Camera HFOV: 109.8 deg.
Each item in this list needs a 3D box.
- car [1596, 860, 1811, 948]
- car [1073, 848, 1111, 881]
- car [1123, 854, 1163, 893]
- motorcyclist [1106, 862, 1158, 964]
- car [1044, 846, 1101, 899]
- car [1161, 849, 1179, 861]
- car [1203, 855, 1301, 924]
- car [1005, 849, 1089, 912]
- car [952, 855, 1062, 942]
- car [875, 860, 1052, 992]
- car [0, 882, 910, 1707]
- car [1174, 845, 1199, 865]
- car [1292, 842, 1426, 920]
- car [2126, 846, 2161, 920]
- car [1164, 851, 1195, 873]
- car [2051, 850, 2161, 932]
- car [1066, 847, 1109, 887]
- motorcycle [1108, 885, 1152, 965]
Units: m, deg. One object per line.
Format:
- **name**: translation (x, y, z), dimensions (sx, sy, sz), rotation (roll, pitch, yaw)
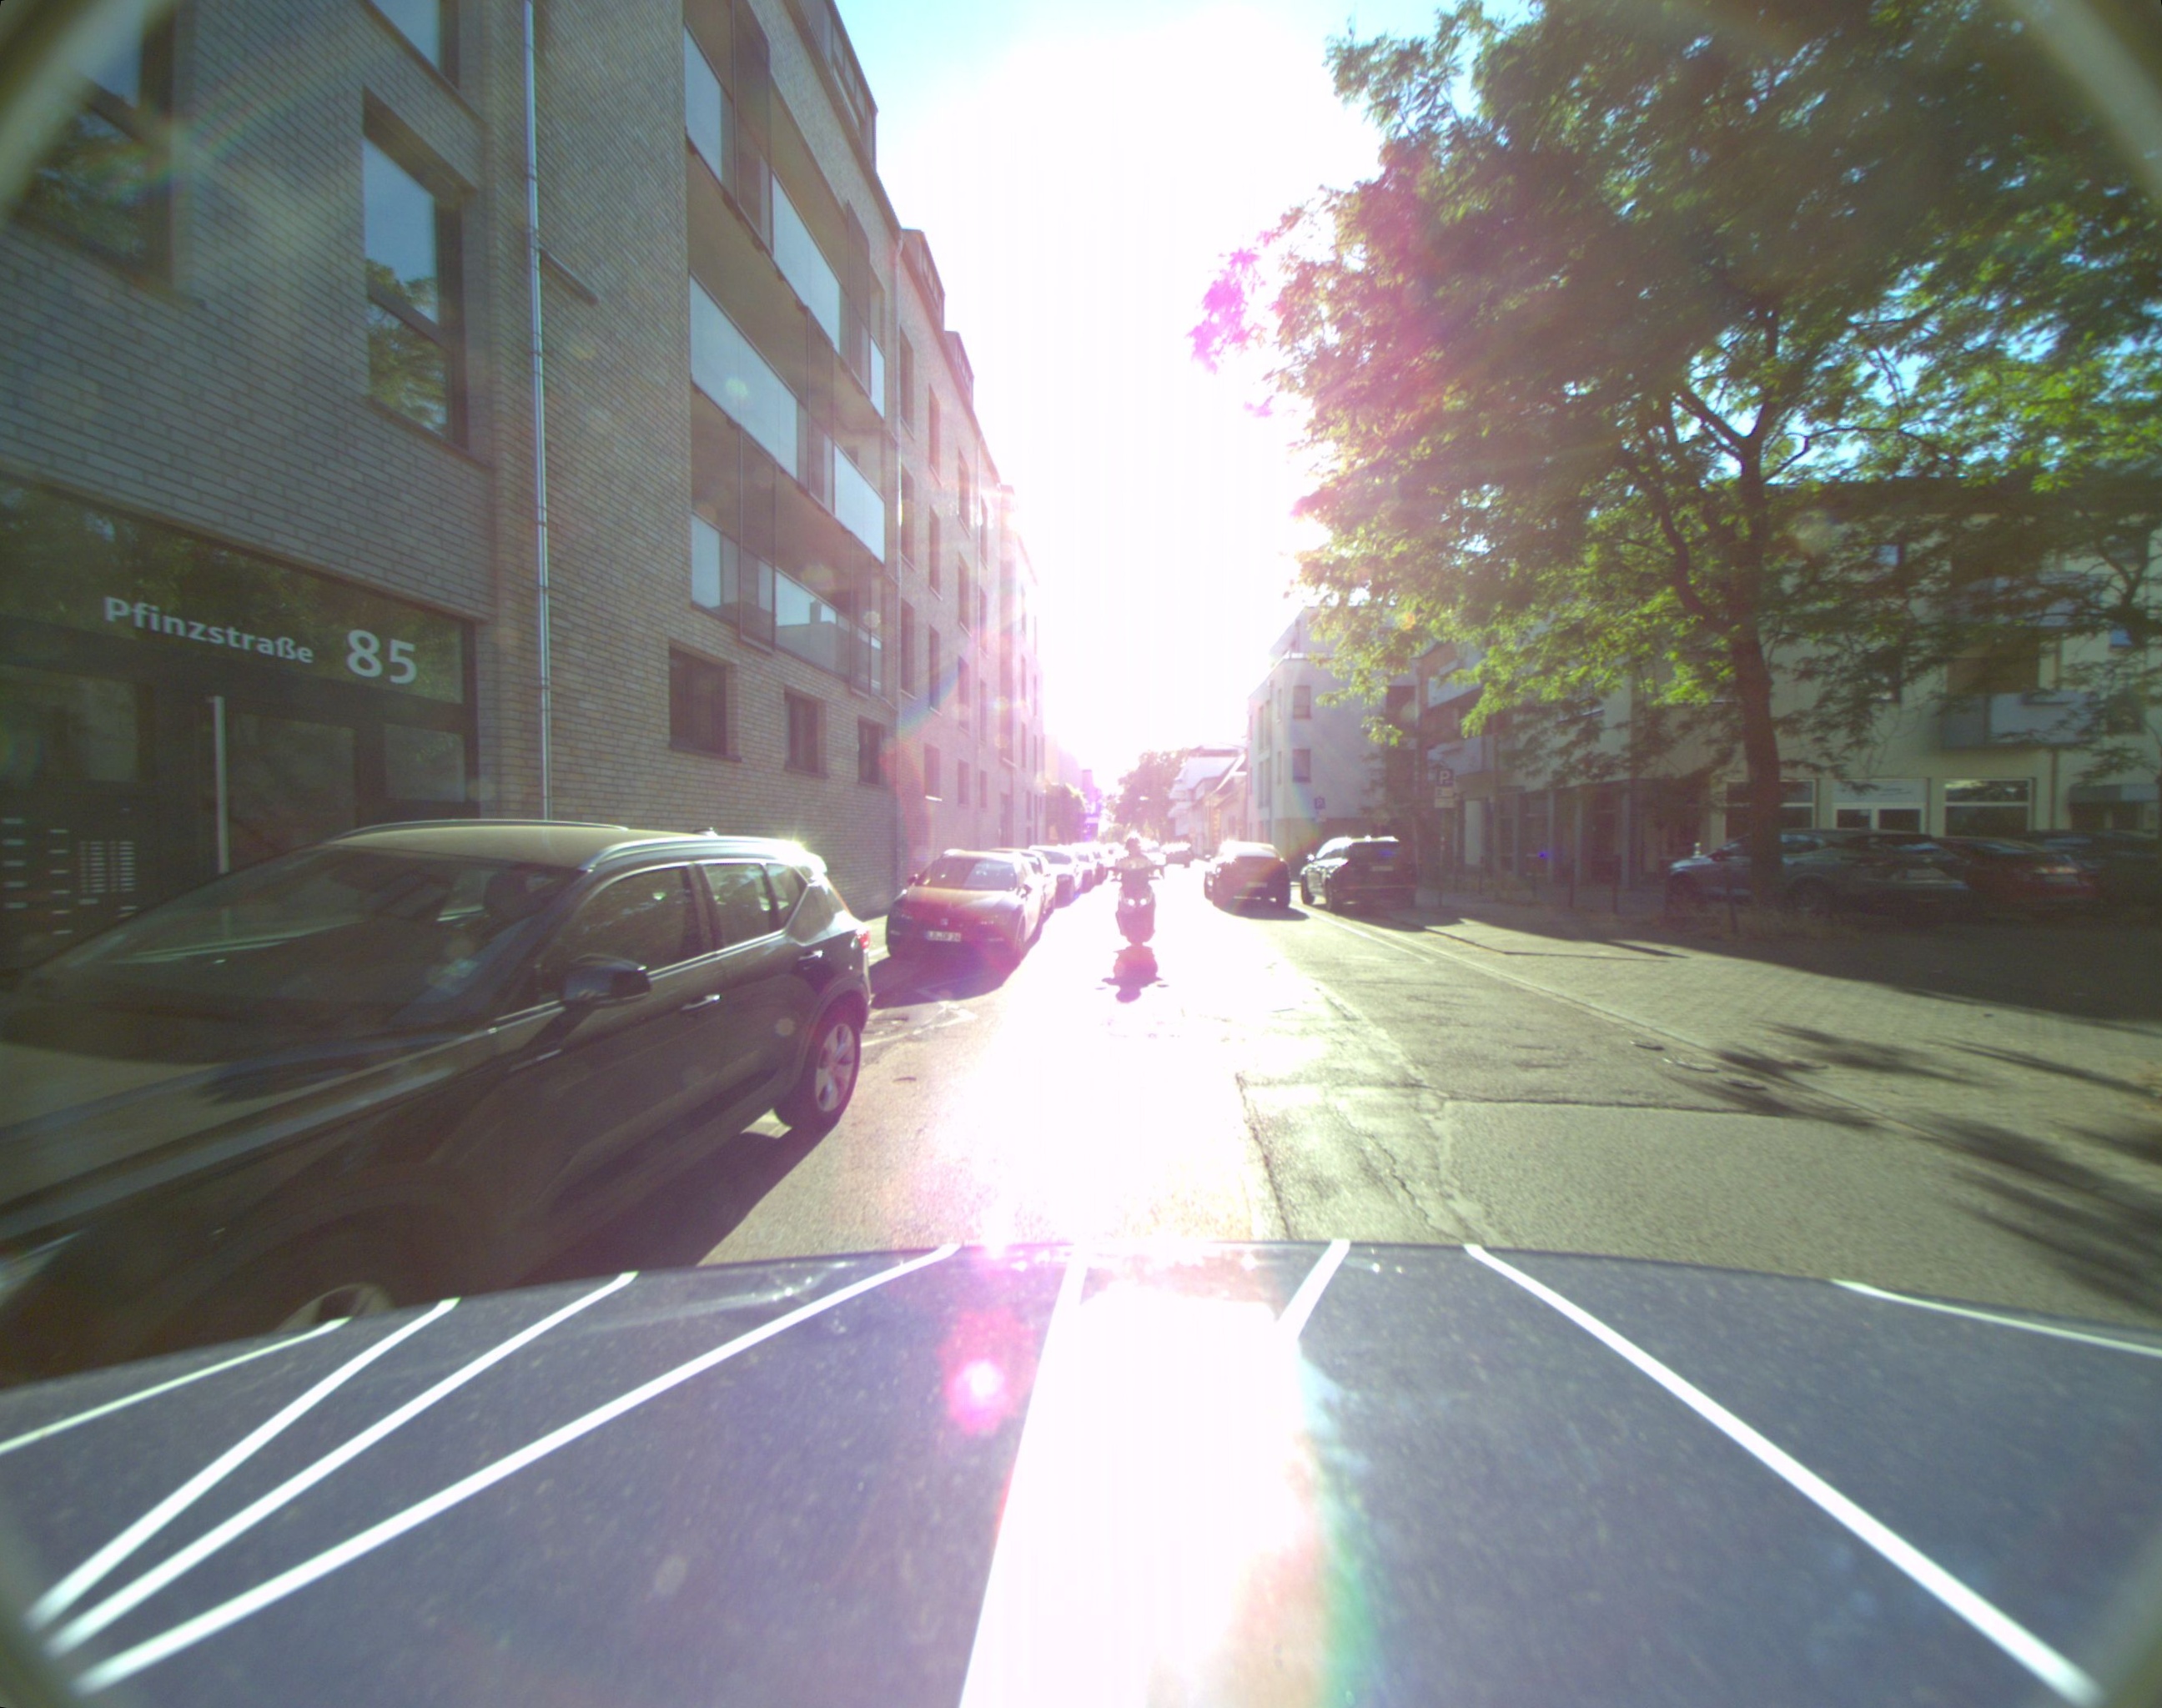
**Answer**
- **car**: translation (11.837, 0.865, 14.780), dimensions (1.524, 1.400, 3.641), rotation (0, 1, 7)
- **car**: translation (0.551, 0.485, 37.006), dimensions (1.731, 1.515, 3.654), rotation (0, 1, 1)
- **car**: translation (2.855, 0.862, 34.994), dimensions (1.707, 1.570, 3.916), rotation (-2, 1, 4)
- **motorcyclist**: translation (0.757, 0.834, 11.147), dimensions (0.717, 1.424, 0.746), rotation (0, 1, 5)
- **car**: translation (-0.227, 0.577, 27.319), dimensions (1.671, 1.724, 4.840), rotation (0, 1, 4)
- **car**: translation (10.906, 0.093, 93.081), dimensions (1.998, 1.458, 4.001), rotation (0, 1, 4)
- **car**: translation (4.428, 0.851, 20.268), dimensions (1.943, 1.567, 4.320), rotation (0, 1, 5)
- **car**: translation (-0.873, 0.677, 22.043), dimensions (1.729, 1.521, 4.627), rotation (3, 1, 5)
- **car**: translation (-1.426, 0.820, 16.209), dimensions (1.667, 1.507, 4.219), rotation (2, 1, 3)
- **car**: translation (-1.524, 0.891, 11.559), dimensions (1.700, 1.459, 4.720), rotation (1, 1, 3)
- **car**: translation (-2.290, 0.960, 3.220), dimensions (1.820, 1.458, 4.271), rotation (0, 1, 5)
- **car**: translation (10.246, 0.064, 74.230), dimensions (1.998, 1.619, 4.001), rotation (-7, 0, 4)
- **car**: translation (6.947, 0.581, 19.622), dimensions (1.936, 1.695, 5.102), rotation (-3, 1, 5)
- **car**: translation (23.504, 0.627, 13.878), dimensions (1.942, 1.551, 5.188), rotation (-1, 1, 5)
- **car**: translation (6.961, 0.573, 54.050), dimensions (1.811, 1.458, 4.000), rotation (0, 1, 3)
- **car**: translation (21.380, 0.713, 13.595), dimensions (1.998, 1.467, 4.832), rotation (-2, 1, 3)
- **car**: translation (0.334, 0.509, 32.541), dimensions (1.654, 1.583, 4.343), rotation (2, 0, 2)
- **motorcycle**: translation (0.762, 1.020, 11.412), dimensions (0.598, 1.004, 1.822), rotation (0, 1, 5)
